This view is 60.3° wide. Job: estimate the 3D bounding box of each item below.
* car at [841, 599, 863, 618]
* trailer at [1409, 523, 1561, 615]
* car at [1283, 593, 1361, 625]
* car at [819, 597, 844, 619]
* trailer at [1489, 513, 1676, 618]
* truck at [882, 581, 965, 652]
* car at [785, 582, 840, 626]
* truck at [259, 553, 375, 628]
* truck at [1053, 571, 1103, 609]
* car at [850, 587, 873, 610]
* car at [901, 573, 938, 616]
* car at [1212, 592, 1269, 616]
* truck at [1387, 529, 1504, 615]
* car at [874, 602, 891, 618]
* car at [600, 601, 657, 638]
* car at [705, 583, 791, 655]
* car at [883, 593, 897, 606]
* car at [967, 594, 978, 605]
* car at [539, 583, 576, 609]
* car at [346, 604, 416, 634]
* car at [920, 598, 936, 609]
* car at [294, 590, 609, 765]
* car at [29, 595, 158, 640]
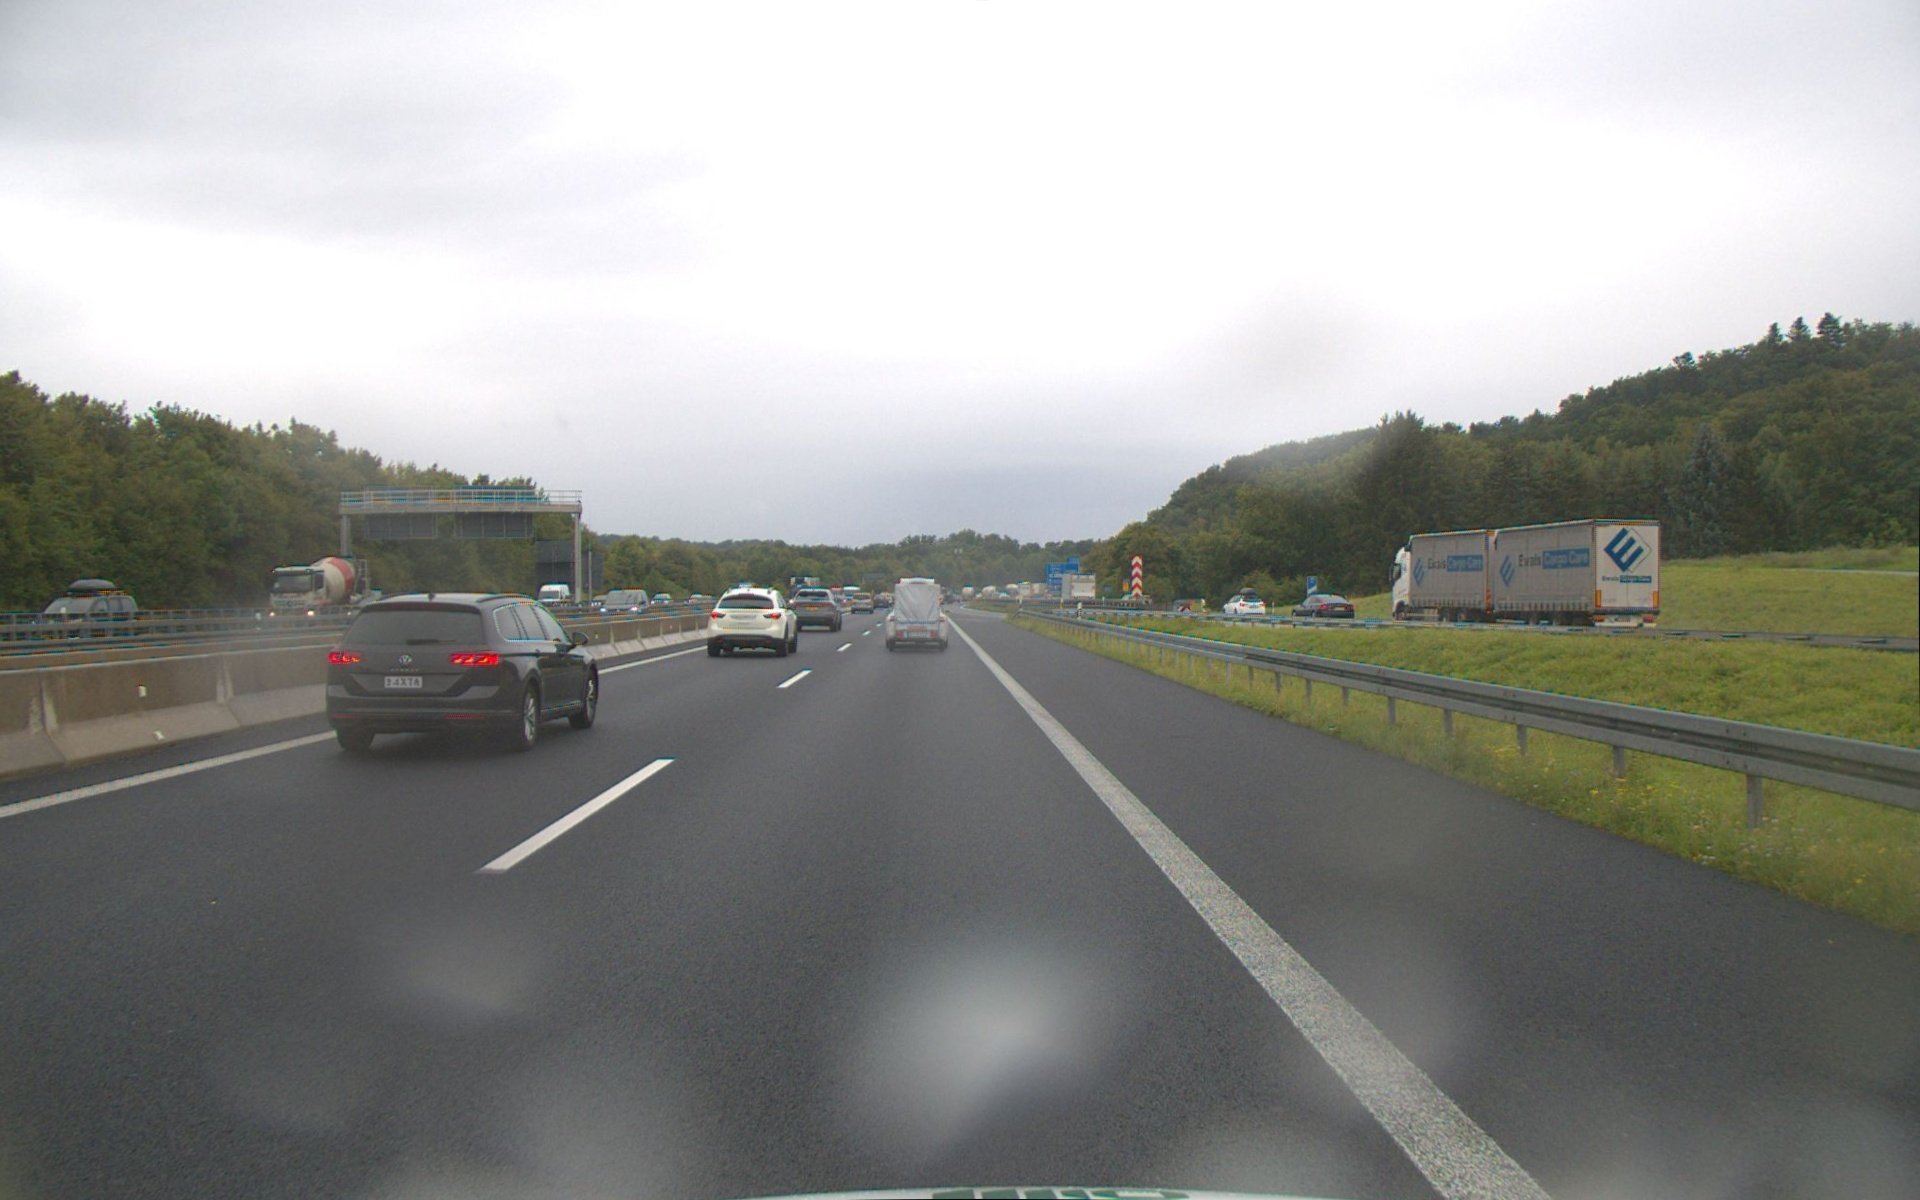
[{"bbox_3d":[-10.082,0.807,154.687,1.782,1.691,4.016,0,0,-1],"label":"car"},{"bbox_3d":[22.021,-1.228,69.966,2.882,3.588,8.407,1,0,-7],"label":"trailer"},{"bbox_3d":[16.671,0.403,76.411,1.948,1.401,5.311,0,0,-6],"label":"car"},{"bbox_3d":[-10.131,0.634,130.658,1.782,1.691,4.016,0,0,-1],"label":"car"},{"bbox_3d":[23.036,-1.214,61.769,3.020,3.588,8.070,1,0,-8],"label":"trailer"},{"bbox_3d":[-1.084,0.424,47.346,2.197,1.871,6.582,1,0,-2],"label":"truck"},{"bbox_3d":[-6.057,0.141,68.257,1.936,1.733,4.801,1,1,-2],"label":"car"},{"bbox_3d":[-33.599,-0.489,86.852,2.631,3.725,9.554,-1,0,-2],"label":"truck"},{"bbox_3d":[11.911,-1.018,168.003,3.750,3.723,8.263,1,0,-5],"label":"truck"},{"bbox_3d":[-7.935,-0.125,133.255,1.703,1.825,3.999,1,0,-2],"label":"car"},{"bbox_3d":[-2.752,-0.358,110.983,2.285,2.773,6.535,0,0,-3],"label":"car"},{"bbox_3d":[17.206,0.245,101.615,1.949,1.401,5.068,0,0,-9],"label":"car"},{"bbox_3d":[21.577,-1.201,73.788,2.882,3.588,5.919,1,0,-7],"label":"truck"},{"bbox_3d":[-8.191,1.062,174.838,1.612,1.601,3.999,1,0,-1],"label":"car"},{"bbox_3d":[-16.182,0.927,81.011,1.953,1.679,5.024,1,0,-3],"label":"car"},{"bbox_3d":[-5.263,0.440,41.529,2.009,1.700,4.535,1,0,-6],"label":"car"},{"bbox_3d":[-9.017,-0.037,213.475,1.612,1.601,3.999,1,0,-1],"label":"car"},{"bbox_3d":[1.907,-0.112,256.369,1.612,1.601,3.999,1,0,-1],"label":"car"},{"bbox_3d":[-35.364,-0.336,145.385,1.953,2.252,5.713,0,0,-2],"label":"car"},{"bbox_3d":[-29.184,0.927,83.530,1.953,1.431,4.675,0,0,-1],"label":"car"},{"bbox_3d":[-4.783,0.505,244.637,1.955,1.579,3.995,1,0,-6],"label":"car"},{"bbox_3d":[-4.895,0.664,16.677,1.751,1.484,4.801,1,0,-1],"label":"car"},{"bbox_3d":[-29.443,0.572,56.362,1.953,1.431,4.675,0,0,-1],"label":"car"}]
